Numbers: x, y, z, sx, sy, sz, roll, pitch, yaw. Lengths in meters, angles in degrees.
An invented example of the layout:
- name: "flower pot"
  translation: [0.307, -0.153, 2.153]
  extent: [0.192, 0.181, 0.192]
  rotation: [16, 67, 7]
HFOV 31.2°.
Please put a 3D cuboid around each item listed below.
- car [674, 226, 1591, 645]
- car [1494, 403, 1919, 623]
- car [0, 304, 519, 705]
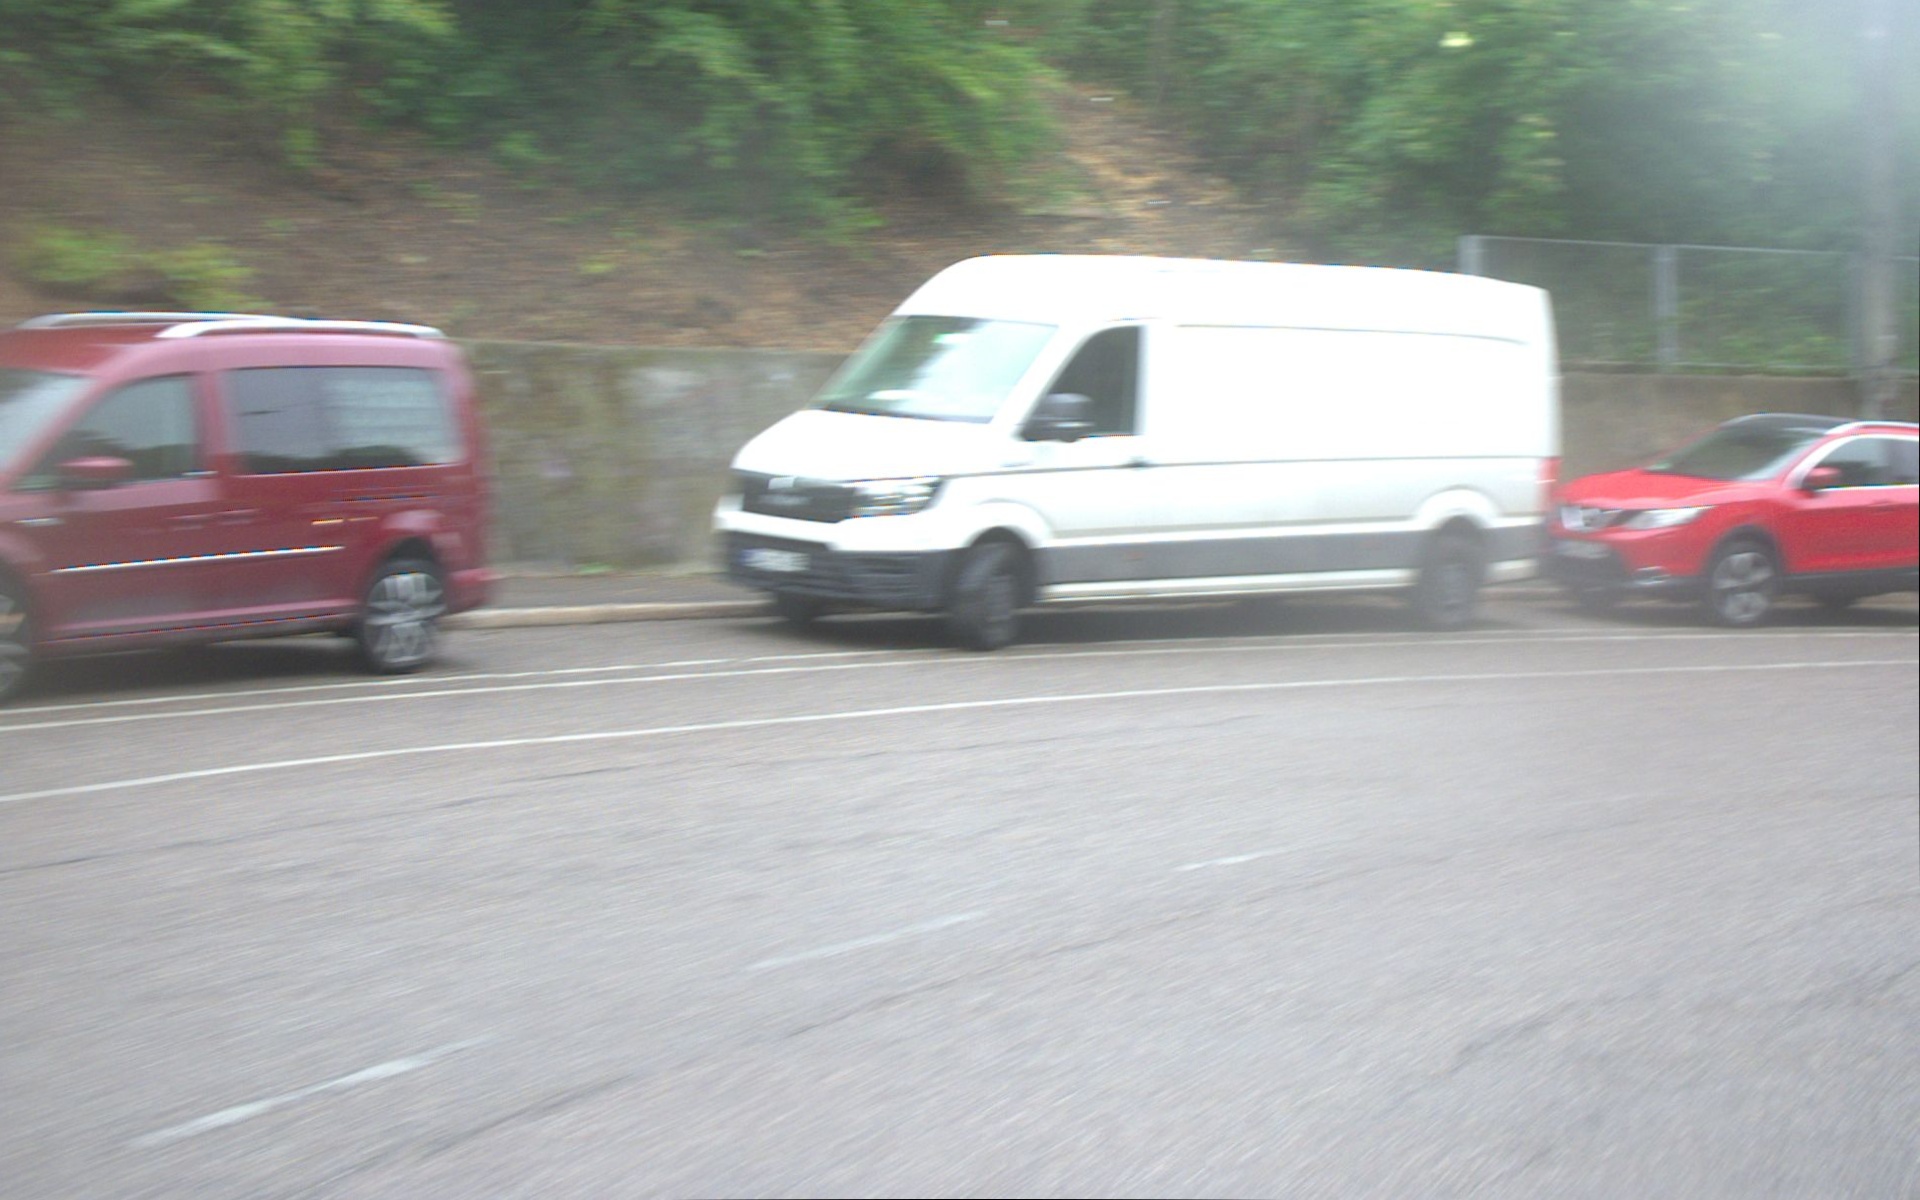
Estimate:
- name: "car"
  translation: [1.386, -1.153, 23.804]
  extent: [6.804, 2.521, 2.041]
  rotation: [-2, 6, -42]
- name: "car"
  translation: [6.595, -0.703, 27.476]
  extent: [4.418, 1.580, 1.782]
  rotation: [0, 5, -31]
- name: "car"
  translation: [-4.609, -0.567, 17.690]
  extent: [1.997, 1.869, 4.813]
  rotation: [5, 5, 32]
